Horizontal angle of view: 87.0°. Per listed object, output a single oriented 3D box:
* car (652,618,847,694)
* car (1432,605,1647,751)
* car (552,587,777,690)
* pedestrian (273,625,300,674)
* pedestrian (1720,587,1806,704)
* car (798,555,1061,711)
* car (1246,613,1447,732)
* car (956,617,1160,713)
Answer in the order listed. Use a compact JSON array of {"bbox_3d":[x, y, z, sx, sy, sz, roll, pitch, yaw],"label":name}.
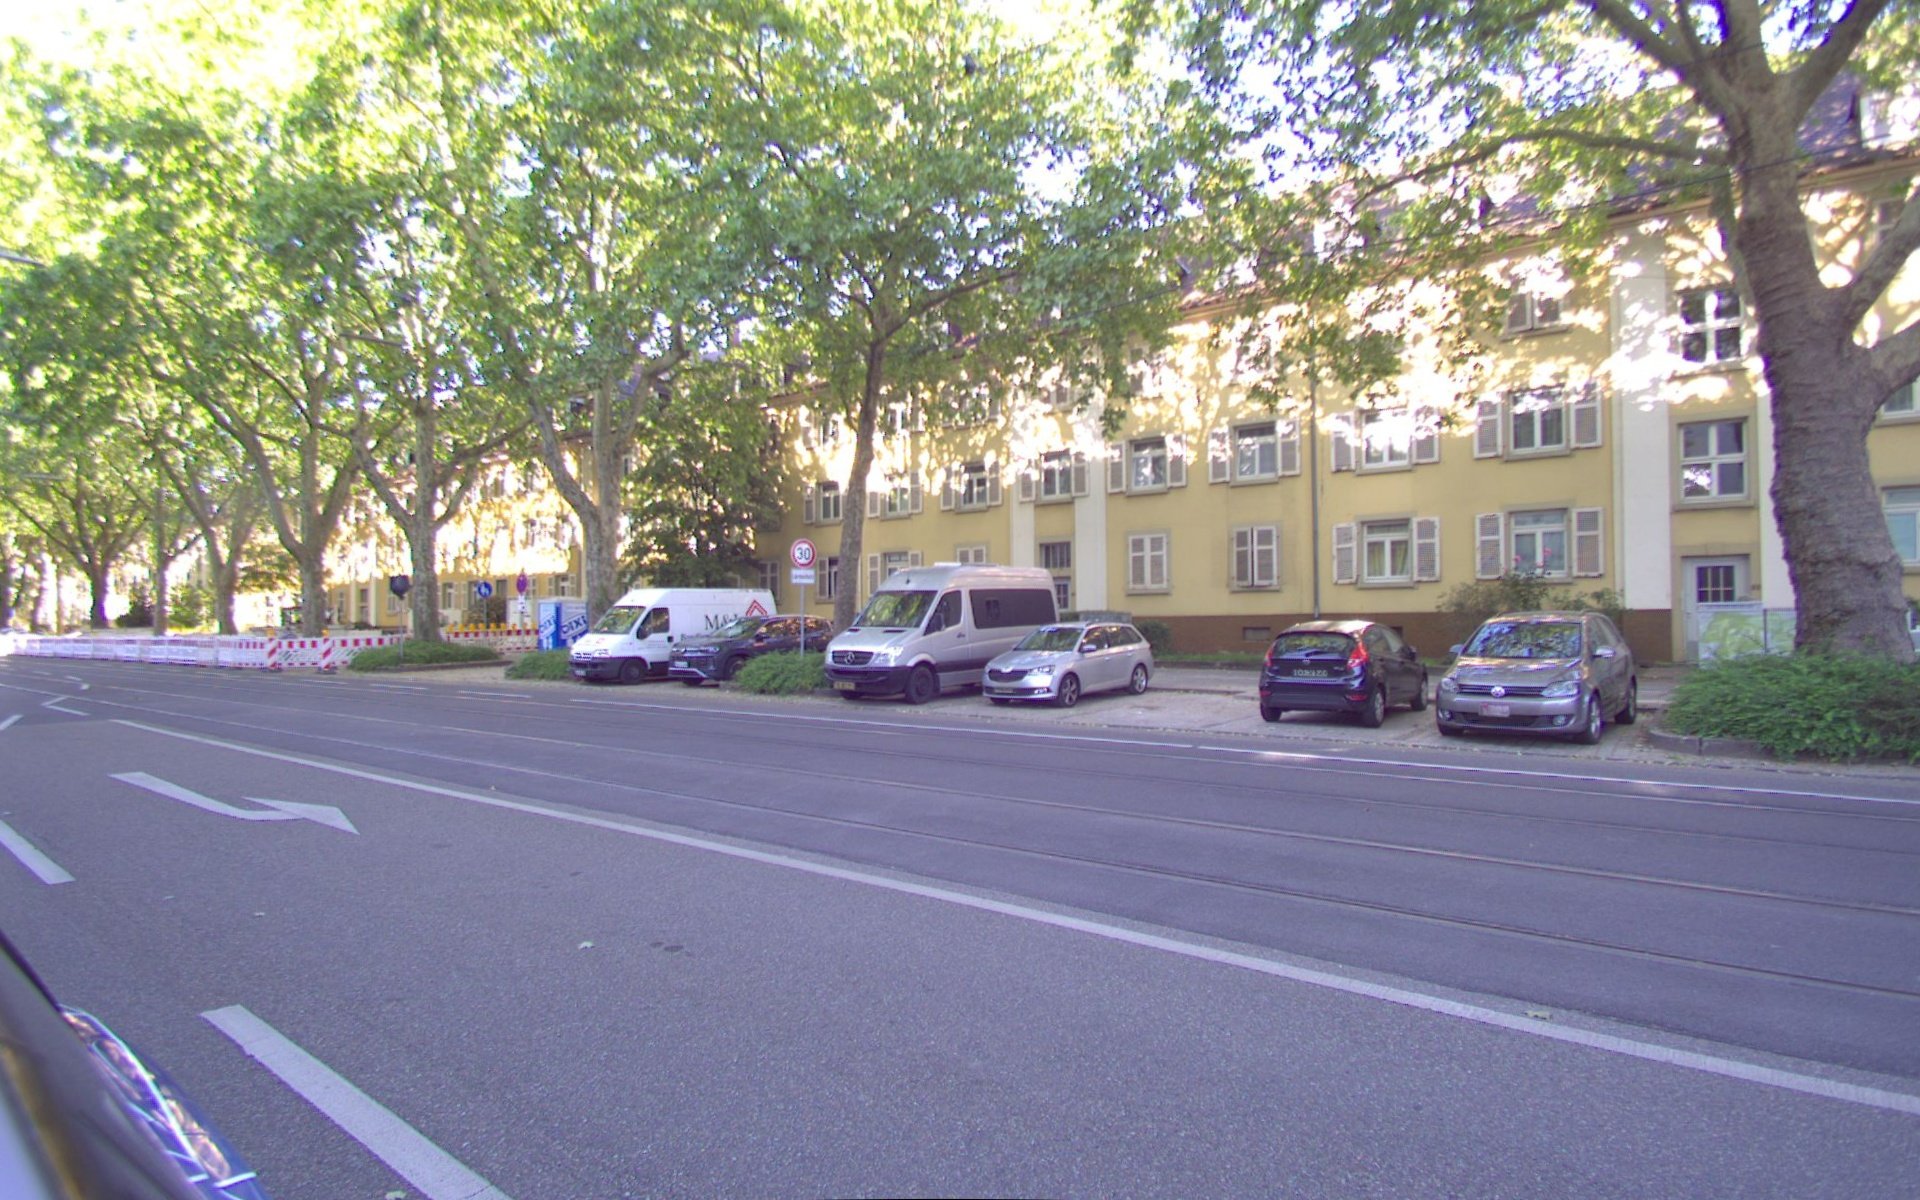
[{"bbox_3d":[-4.975,1.278,24.443,1.772,1.664,4.570,-2,-2,38],"label":"car"},{"bbox_3d":[7.747,0.900,13.363,1.672,1.592,3.928,-2,-1,41],"label":"car"},{"bbox_3d":[-7.558,0.967,26.369,2.222,2.394,5.336,-2,-2,40],"label":"car"},{"bbox_3d":[-24.509,1.787,36.835,0.574,1.759,0.653,-1,0,-6],"label":"pedestrian"},{"bbox_3d":[11.952,0.657,15.068,0.954,1.673,0.764,-1,0,40],"label":"pedestrian"},{"bbox_3d":[-0.424,0.611,20.442,2.221,2.702,5.596,-2,-1,38],"label":"car"},{"bbox_3d":[5.969,1.003,15.414,1.671,1.509,3.756,-2,-1,41],"label":"car"},{"bbox_3d":[1.915,1.123,18.831,1.773,1.509,4.031,-2,-1,41],"label":"car"}]
